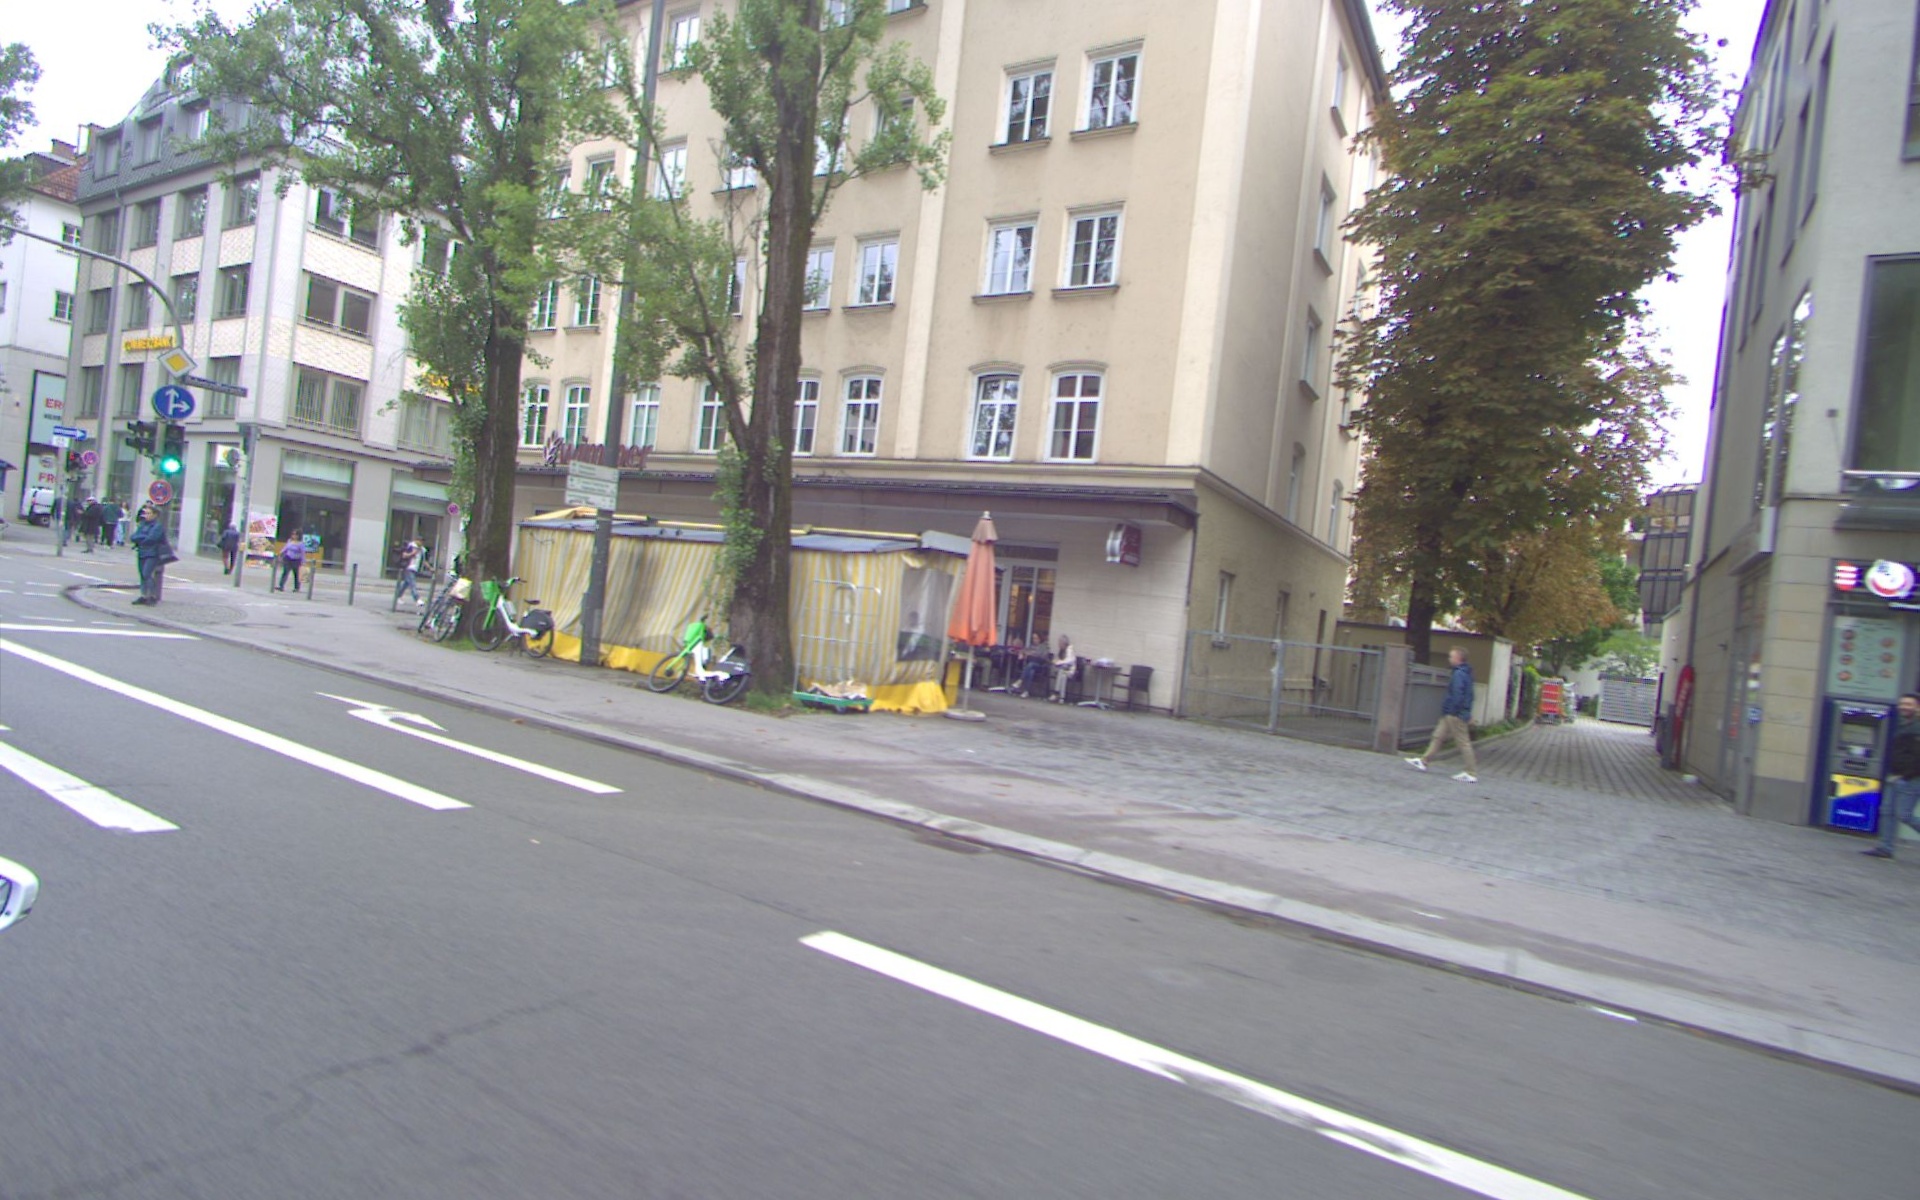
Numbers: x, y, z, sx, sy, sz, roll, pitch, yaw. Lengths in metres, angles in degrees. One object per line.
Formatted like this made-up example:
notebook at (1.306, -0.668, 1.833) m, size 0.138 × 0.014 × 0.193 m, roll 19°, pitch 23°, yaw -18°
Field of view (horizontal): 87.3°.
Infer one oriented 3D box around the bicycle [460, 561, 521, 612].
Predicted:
bicycle at (-12.662, -0.366, 27.128) m, size 1.781 × 1.184 × 0.435 m, roll 6°, pitch -1°, yaw 30°

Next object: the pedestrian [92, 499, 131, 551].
pedestrian at (-30.654, -2.706, 36.332) m, size 0.845 × 1.779 × 0.750 m, roll 5°, pitch 0°, yaw 33°

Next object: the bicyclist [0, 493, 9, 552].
bicyclist at (-26.903, -2.190, 27.842) m, size 0.473 × 1.608 × 0.622 m, roll 7°, pitch 1°, yaw 31°

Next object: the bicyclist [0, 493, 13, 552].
bicyclist at (-26.608, -2.159, 27.673) m, size 0.385 × 1.608 × 0.622 m, roll 7°, pitch 1°, yaw 31°

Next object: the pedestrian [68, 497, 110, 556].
pedestrian at (-28.018, -2.356, 32.359) m, size 0.740 × 1.780 × 0.709 m, roll 7°, pitch 1°, yaw 33°

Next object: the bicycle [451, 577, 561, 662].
bicycle at (-6.844, 0.284, 15.132) m, size 1.740 × 1.061 × 0.509 m, roll 7°, pitch 0°, yaw 30°

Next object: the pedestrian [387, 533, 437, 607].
pedestrian at (-13.496, -0.733, 24.807) m, size 0.847 × 1.723 × 0.664 m, roll 5°, pitch 0°, yaw -18°

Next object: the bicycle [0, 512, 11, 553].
bicycle at (-27.423, -1.964, 28.149) m, size 2.226 × 1.100 × 0.627 m, roll 7°, pitch 1°, yaw 31°

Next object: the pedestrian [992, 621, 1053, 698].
pedestrian at (1.127, 1.078, 18.084) m, size 0.688 × 1.280 × 0.776 m, roll 7°, pitch 0°, yaw 32°

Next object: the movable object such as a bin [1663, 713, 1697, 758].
movable object such as a bin at (18.951, 3.553, 26.498) m, size 0.586 × 1.063 × 0.611 m, roll 7°, pitch 0°, yaw 32°

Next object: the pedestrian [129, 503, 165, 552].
pedestrian at (-31.626, -2.806, 39.140) m, size 0.699 × 1.779 × 0.751 m, roll 7°, pitch 0°, yaw 33°

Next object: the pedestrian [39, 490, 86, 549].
pedestrian at (-30.337, -2.721, 34.021) m, size 0.875 × 1.840 × 0.819 m, roll 7°, pitch 0°, yaw 30°

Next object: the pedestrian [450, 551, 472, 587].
pedestrian at (-20.678, -1.274, 41.665) m, size 0.574 × 1.423 × 0.444 m, roll 7°, pitch 1°, yaw 28°

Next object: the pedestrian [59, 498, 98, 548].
pedestrian at (-32.798, -2.864, 37.410) m, size 0.947 × 1.698 × 0.750 m, roll 7°, pitch 1°, yaw 33°

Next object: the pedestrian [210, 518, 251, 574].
pedestrian at (-22.737, -1.668, 31.350) m, size 0.722 × 1.657 × 0.750 m, roll 5°, pitch 1°, yaw 34°

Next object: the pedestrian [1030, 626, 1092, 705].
pedestrian at (1.775, 1.158, 17.669) m, size 0.688 × 1.280 × 0.776 m, roll 7°, pitch 0°, yaw 32°

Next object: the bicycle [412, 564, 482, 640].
bicycle at (-8.515, 0.012, 16.658) m, size 0.404 × 1.081 × 1.790 m, roll 13°, pitch -5°, yaw -42°

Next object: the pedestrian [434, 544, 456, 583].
pedestrian at (-21.464, -1.507, 41.949) m, size 0.574 × 1.550 × 0.444 m, roll 7°, pitch 1°, yaw 28°

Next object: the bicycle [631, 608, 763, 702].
bicycle at (-3.465, 0.708, 13.209) m, size 1.740 × 0.987 × 0.509 m, roll 7°, pitch 0°, yaw 30°

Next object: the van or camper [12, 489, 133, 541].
van or camper at (-44.349, -4.223, 50.353) m, size 1.868 × 1.888 × 4.108 m, roll 6°, pitch -2°, yaw 35°

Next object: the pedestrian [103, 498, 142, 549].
pedestrian at (-31.926, -2.914, 38.360) m, size 1.000 × 1.780 × 0.750 m, roll 7°, pitch 1°, yaw 33°

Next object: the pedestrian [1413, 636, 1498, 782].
pedestrian at (6.740, 1.468, 13.667) m, size 0.744 × 1.837 × 0.743 m, roll 7°, pitch 0°, yaw 35°

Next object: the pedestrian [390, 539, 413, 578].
pedestrian at (-23.257, -1.739, 41.901) m, size 0.574 × 1.550 × 0.444 m, roll 7°, pitch 1°, yaw 28°

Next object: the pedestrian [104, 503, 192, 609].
pedestrian at (-13.617, -0.731, 16.876) m, size 0.849 × 1.630 × 0.767 m, roll 7°, pitch 1°, yaw 28°

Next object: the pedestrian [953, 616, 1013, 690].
pedestrian at (0.435, 0.989, 18.606) m, size 0.688 × 1.280 × 0.776 m, roll 7°, pitch 0°, yaw 32°

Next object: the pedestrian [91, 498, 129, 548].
pedestrian at (-32.141, -2.924, 38.044) m, size 0.947 × 1.739 × 0.750 m, roll 7°, pitch 1°, yaw 33°

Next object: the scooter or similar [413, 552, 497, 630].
scooter or similar at (-9.311, -0.162, 18.559) m, size 1.345 × 1.259 × 0.408 m, roll 7°, pitch 0°, yaw 16°

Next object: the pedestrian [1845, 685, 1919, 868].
pedestrian at (10.340, 1.894, 10.678) m, size 0.962 × 1.837 × 0.813 m, roll 7°, pitch 1°, yaw 10°
